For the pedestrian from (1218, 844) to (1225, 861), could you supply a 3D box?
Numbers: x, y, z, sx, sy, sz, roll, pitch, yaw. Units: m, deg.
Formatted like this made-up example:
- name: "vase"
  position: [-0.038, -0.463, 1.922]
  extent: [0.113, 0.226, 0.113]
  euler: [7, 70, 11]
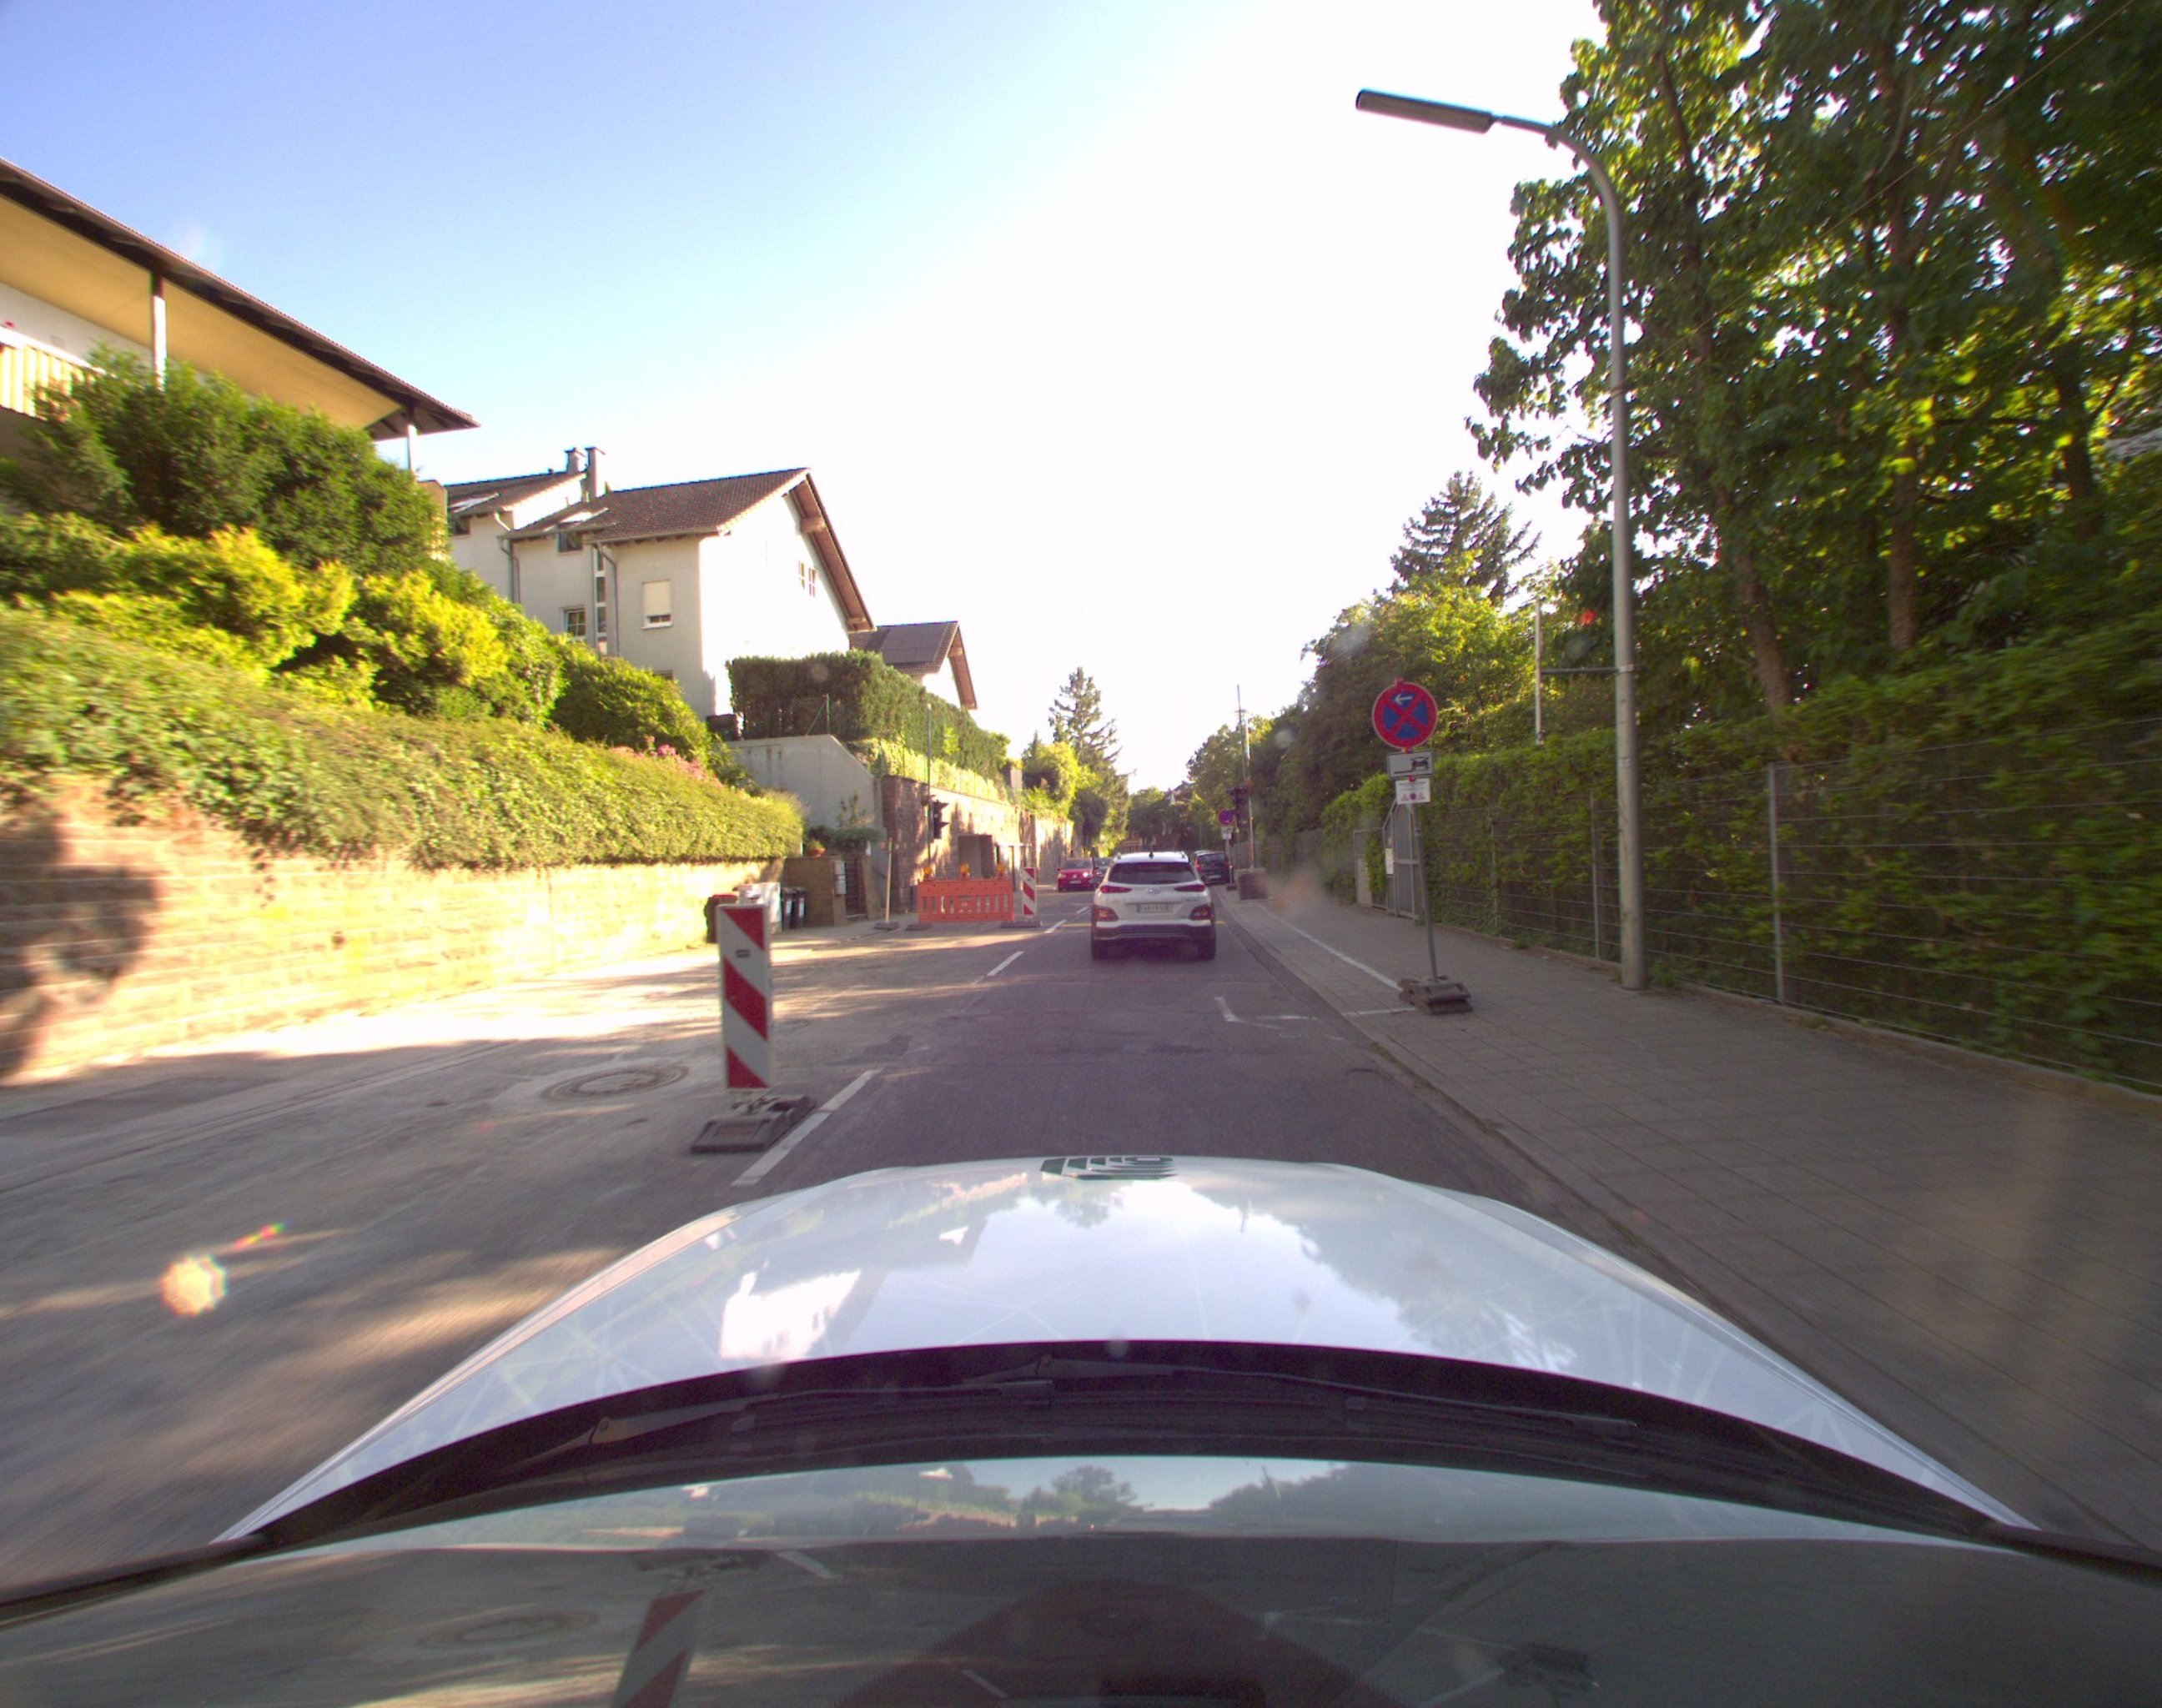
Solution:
- name: "pedestrian"
  position: [13.341, -0.116, 77.481]
  extent: [0.500, 1.569, 0.505]
  euler: [-5, -1, 8]

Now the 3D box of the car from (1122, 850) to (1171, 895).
- name: "car"
  position: [2.503, 0.650, 30.420]
  extent: [1.503, 1.533, 3.556]
  euler: [-3, 0, 8]

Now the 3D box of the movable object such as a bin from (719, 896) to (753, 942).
- name: "movable object such as a bin"
  position: [-6.573, 1.229, 15.524]
  extent: [0.452, 0.834, 0.393]
  euler: [-2, 0, 6]

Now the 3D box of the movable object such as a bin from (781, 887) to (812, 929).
- name: "movable object such as a bin"
  position: [-6.312, 1.196, 18.068]
  extent: [0.454, 0.884, 0.501]
  euler: [-1, 0, 6]

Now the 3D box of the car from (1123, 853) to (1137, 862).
- name: "car"
  position: [9.250, 0.588, 152.862]
  extent: [1.755, 1.616, 3.987]
  euler: [-1, 0, -9]

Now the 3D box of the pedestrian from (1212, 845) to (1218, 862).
- name: "pedestrian"
  position: [12.772, -0.047, 77.630]
  extent: [0.500, 1.606, 0.492]
  euler: [-5, -1, 8]

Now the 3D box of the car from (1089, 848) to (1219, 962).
- name: "car"
  position: [1.108, 0.708, 13.258]
  extent: [1.765, 1.542, 4.003]
  euler: [-1, 0, 3]

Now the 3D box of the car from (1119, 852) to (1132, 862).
- name: "car"
  position: [7.096, 0.488, 130.713]
  extent: [1.735, 1.474, 4.000]
  euler: [-6, -1, 1]

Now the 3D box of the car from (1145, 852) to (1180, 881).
- name: "car"
  position: [4.439, 0.636, 43.904]
  extent: [1.561, 1.477, 3.557]
  euler: [-1, 0, 10]

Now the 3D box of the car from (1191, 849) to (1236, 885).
- name: "car"
  position: [5.917, 0.551, 36.742]
  extent: [1.784, 1.441, 4.008]
  euler: [-3, 0, 7]

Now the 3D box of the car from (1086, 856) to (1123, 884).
- name: "car"
  position: [1.375, 0.859, 46.054]
  extent: [1.640, 1.411, 3.938]
  euler: [-3, -1, 7]

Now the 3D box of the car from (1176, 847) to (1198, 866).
- name: "car"
  position: [9.663, 0.232, 73.836]
  extent: [1.683, 1.447, 3.892]
  euler: [-5, 0, 10]

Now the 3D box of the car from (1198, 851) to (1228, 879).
- name: "car"
  position: [7.624, 0.614, 47.004]
  extent: [1.643, 1.564, 2.880]
  euler: [1, 0, 10]

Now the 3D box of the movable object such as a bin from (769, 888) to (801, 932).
- name: "movable object such as a bin"
  position: [-6.374, 1.200, 17.532]
  extent: [0.454, 0.884, 0.501]
  euler: [-1, 0, 6]

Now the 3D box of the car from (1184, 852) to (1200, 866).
- name: "car"
  position: [13.753, 0.624, 101.339]
  extent: [1.587, 1.489, 3.605]
  euler: [-5, 0, 3]

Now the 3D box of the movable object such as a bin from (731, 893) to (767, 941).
- name: "movable object such as a bin"
  position: [-6.516, 1.231, 15.993]
  extent: [0.454, 0.884, 0.501]
  euler: [-1, 0, 6]

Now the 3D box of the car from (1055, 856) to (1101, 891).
- name: "car"
  position: [-0.073, 0.837, 36.708]
  extent: [1.618, 1.422, 3.569]
  euler: [-3, -1, 6]

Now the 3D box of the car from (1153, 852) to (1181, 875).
- name: "car"
  position: [6.247, 0.672, 58.797]
  extent: [1.683, 1.533, 3.892]
  euler: [1, 0, 10]
